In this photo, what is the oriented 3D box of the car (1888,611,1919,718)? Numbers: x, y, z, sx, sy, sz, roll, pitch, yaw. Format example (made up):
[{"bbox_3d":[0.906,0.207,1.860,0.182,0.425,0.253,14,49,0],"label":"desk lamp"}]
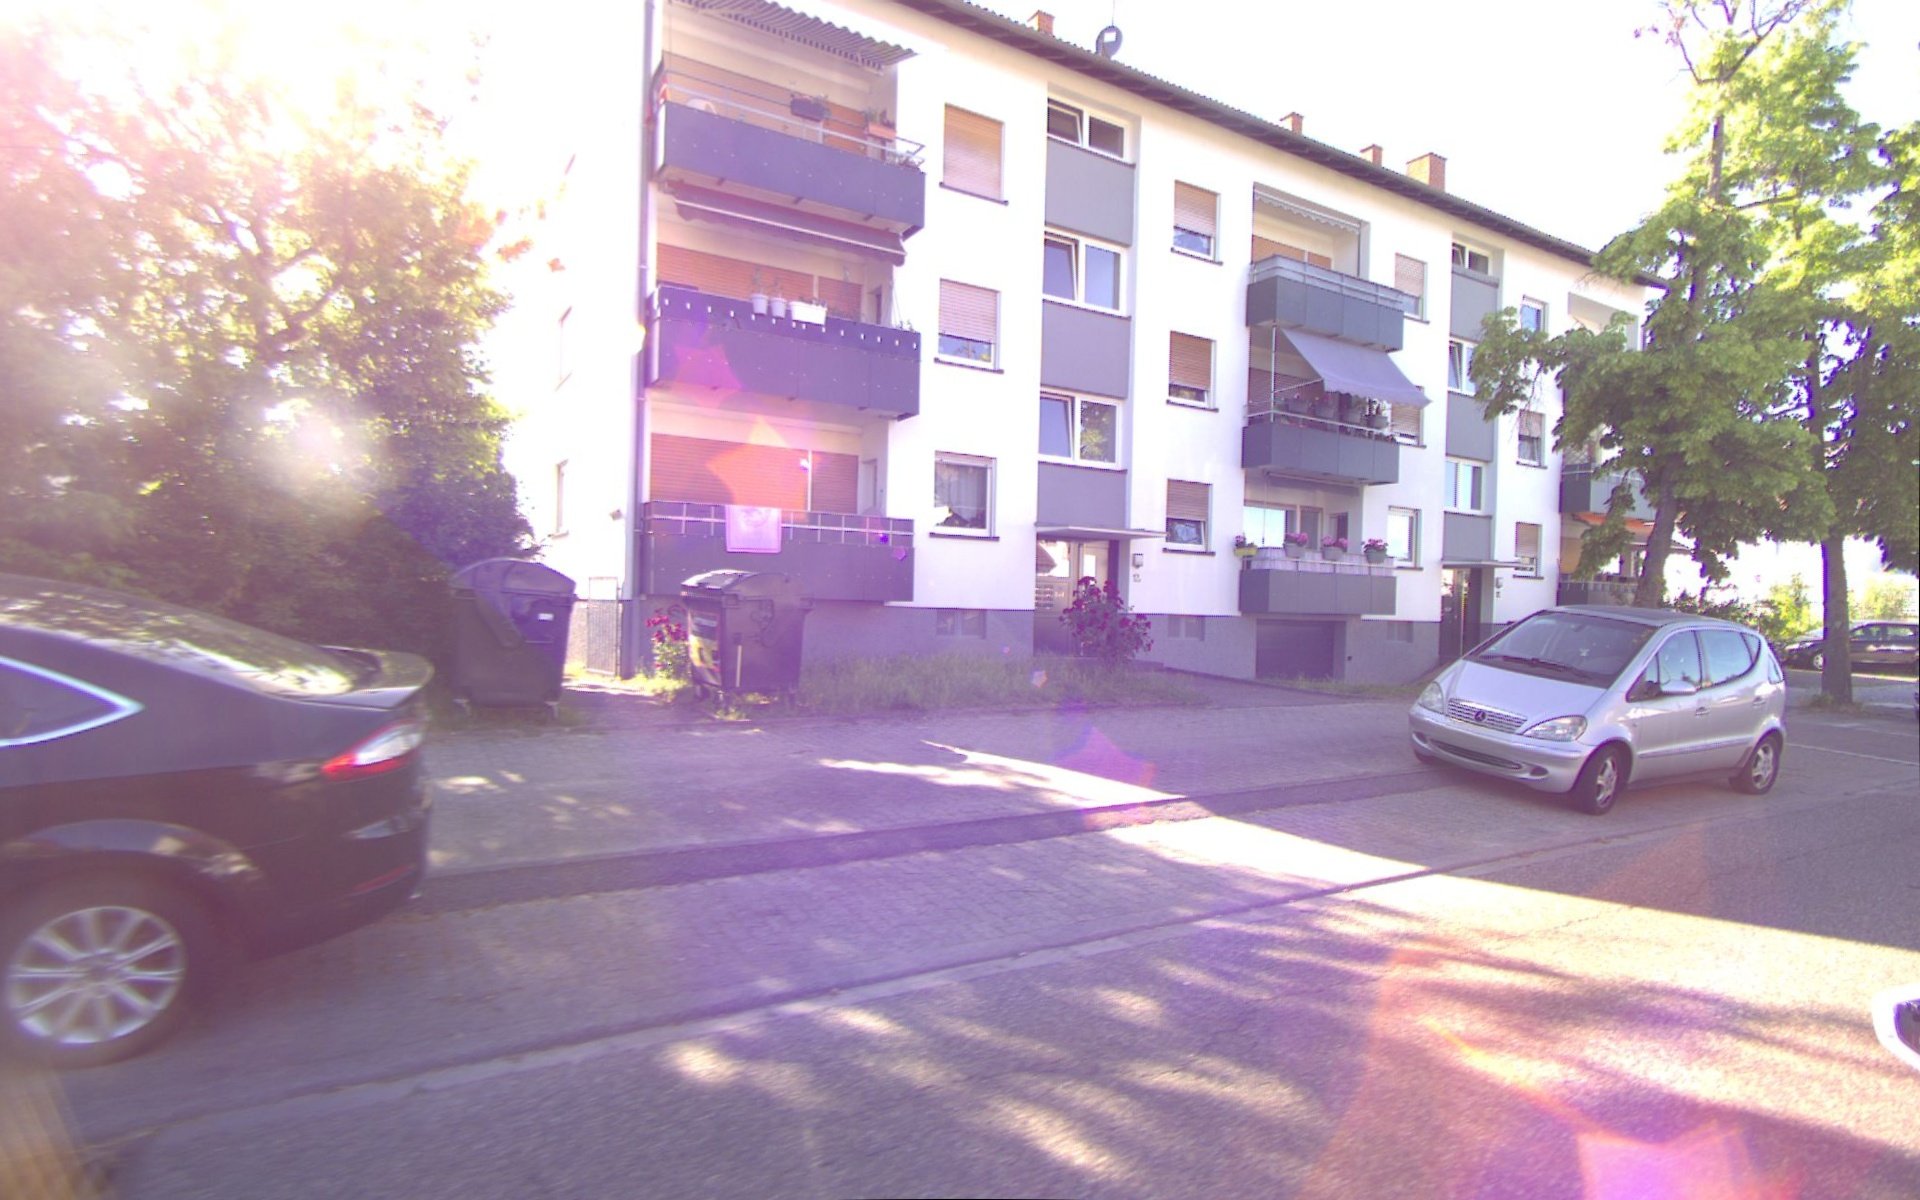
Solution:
[{"bbox_3d":[16.406,1.069,15.594,3.858,1.587,1.685,2,3,-28],"label":"car"}]

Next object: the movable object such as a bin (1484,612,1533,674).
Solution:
[{"bbox_3d":[11.871,0.918,21.751,0.663,1.296,0.636,1,0,-28],"label":"movable object such as a bin"}]

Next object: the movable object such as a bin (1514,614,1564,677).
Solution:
[{"bbox_3d":[12.196,0.951,21.168,0.663,1.296,0.636,1,0,-28],"label":"movable object such as a bin"}]

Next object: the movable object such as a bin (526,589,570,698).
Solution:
[{"bbox_3d":[-4.228,0.436,10.292,0.346,1.089,0.371,2,1,-30],"label":"movable object such as a bin"}]

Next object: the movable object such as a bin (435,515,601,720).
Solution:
[{"bbox_3d":[-4.077,0.150,9.200,1.252,1.685,1.407,2,0,-29],"label":"movable object such as a bin"}]

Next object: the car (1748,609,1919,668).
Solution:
[{"bbox_3d":[26.251,1.135,29.750,4.299,1.534,1.615,2,1,10],"label":"car"}]

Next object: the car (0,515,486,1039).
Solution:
[{"bbox_3d":[-4.119,0.475,3.235,4.494,1.514,1.712,2,5,-33],"label":"car"}]

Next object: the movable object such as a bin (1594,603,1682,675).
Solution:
[{"bbox_3d":[14.952,0.847,22.174,1.102,1.502,1.226,2,0,-28],"label":"movable object such as a bin"}]

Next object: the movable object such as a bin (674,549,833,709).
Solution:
[{"bbox_3d":[-2.214,0.293,10.679,1.311,1.564,1.285,2,0,-29],"label":"movable object such as a bin"}]

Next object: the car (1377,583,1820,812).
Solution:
[{"bbox_3d":[5.984,0.805,9.376,3.861,1.614,1.714,2,5,-29],"label":"car"}]
